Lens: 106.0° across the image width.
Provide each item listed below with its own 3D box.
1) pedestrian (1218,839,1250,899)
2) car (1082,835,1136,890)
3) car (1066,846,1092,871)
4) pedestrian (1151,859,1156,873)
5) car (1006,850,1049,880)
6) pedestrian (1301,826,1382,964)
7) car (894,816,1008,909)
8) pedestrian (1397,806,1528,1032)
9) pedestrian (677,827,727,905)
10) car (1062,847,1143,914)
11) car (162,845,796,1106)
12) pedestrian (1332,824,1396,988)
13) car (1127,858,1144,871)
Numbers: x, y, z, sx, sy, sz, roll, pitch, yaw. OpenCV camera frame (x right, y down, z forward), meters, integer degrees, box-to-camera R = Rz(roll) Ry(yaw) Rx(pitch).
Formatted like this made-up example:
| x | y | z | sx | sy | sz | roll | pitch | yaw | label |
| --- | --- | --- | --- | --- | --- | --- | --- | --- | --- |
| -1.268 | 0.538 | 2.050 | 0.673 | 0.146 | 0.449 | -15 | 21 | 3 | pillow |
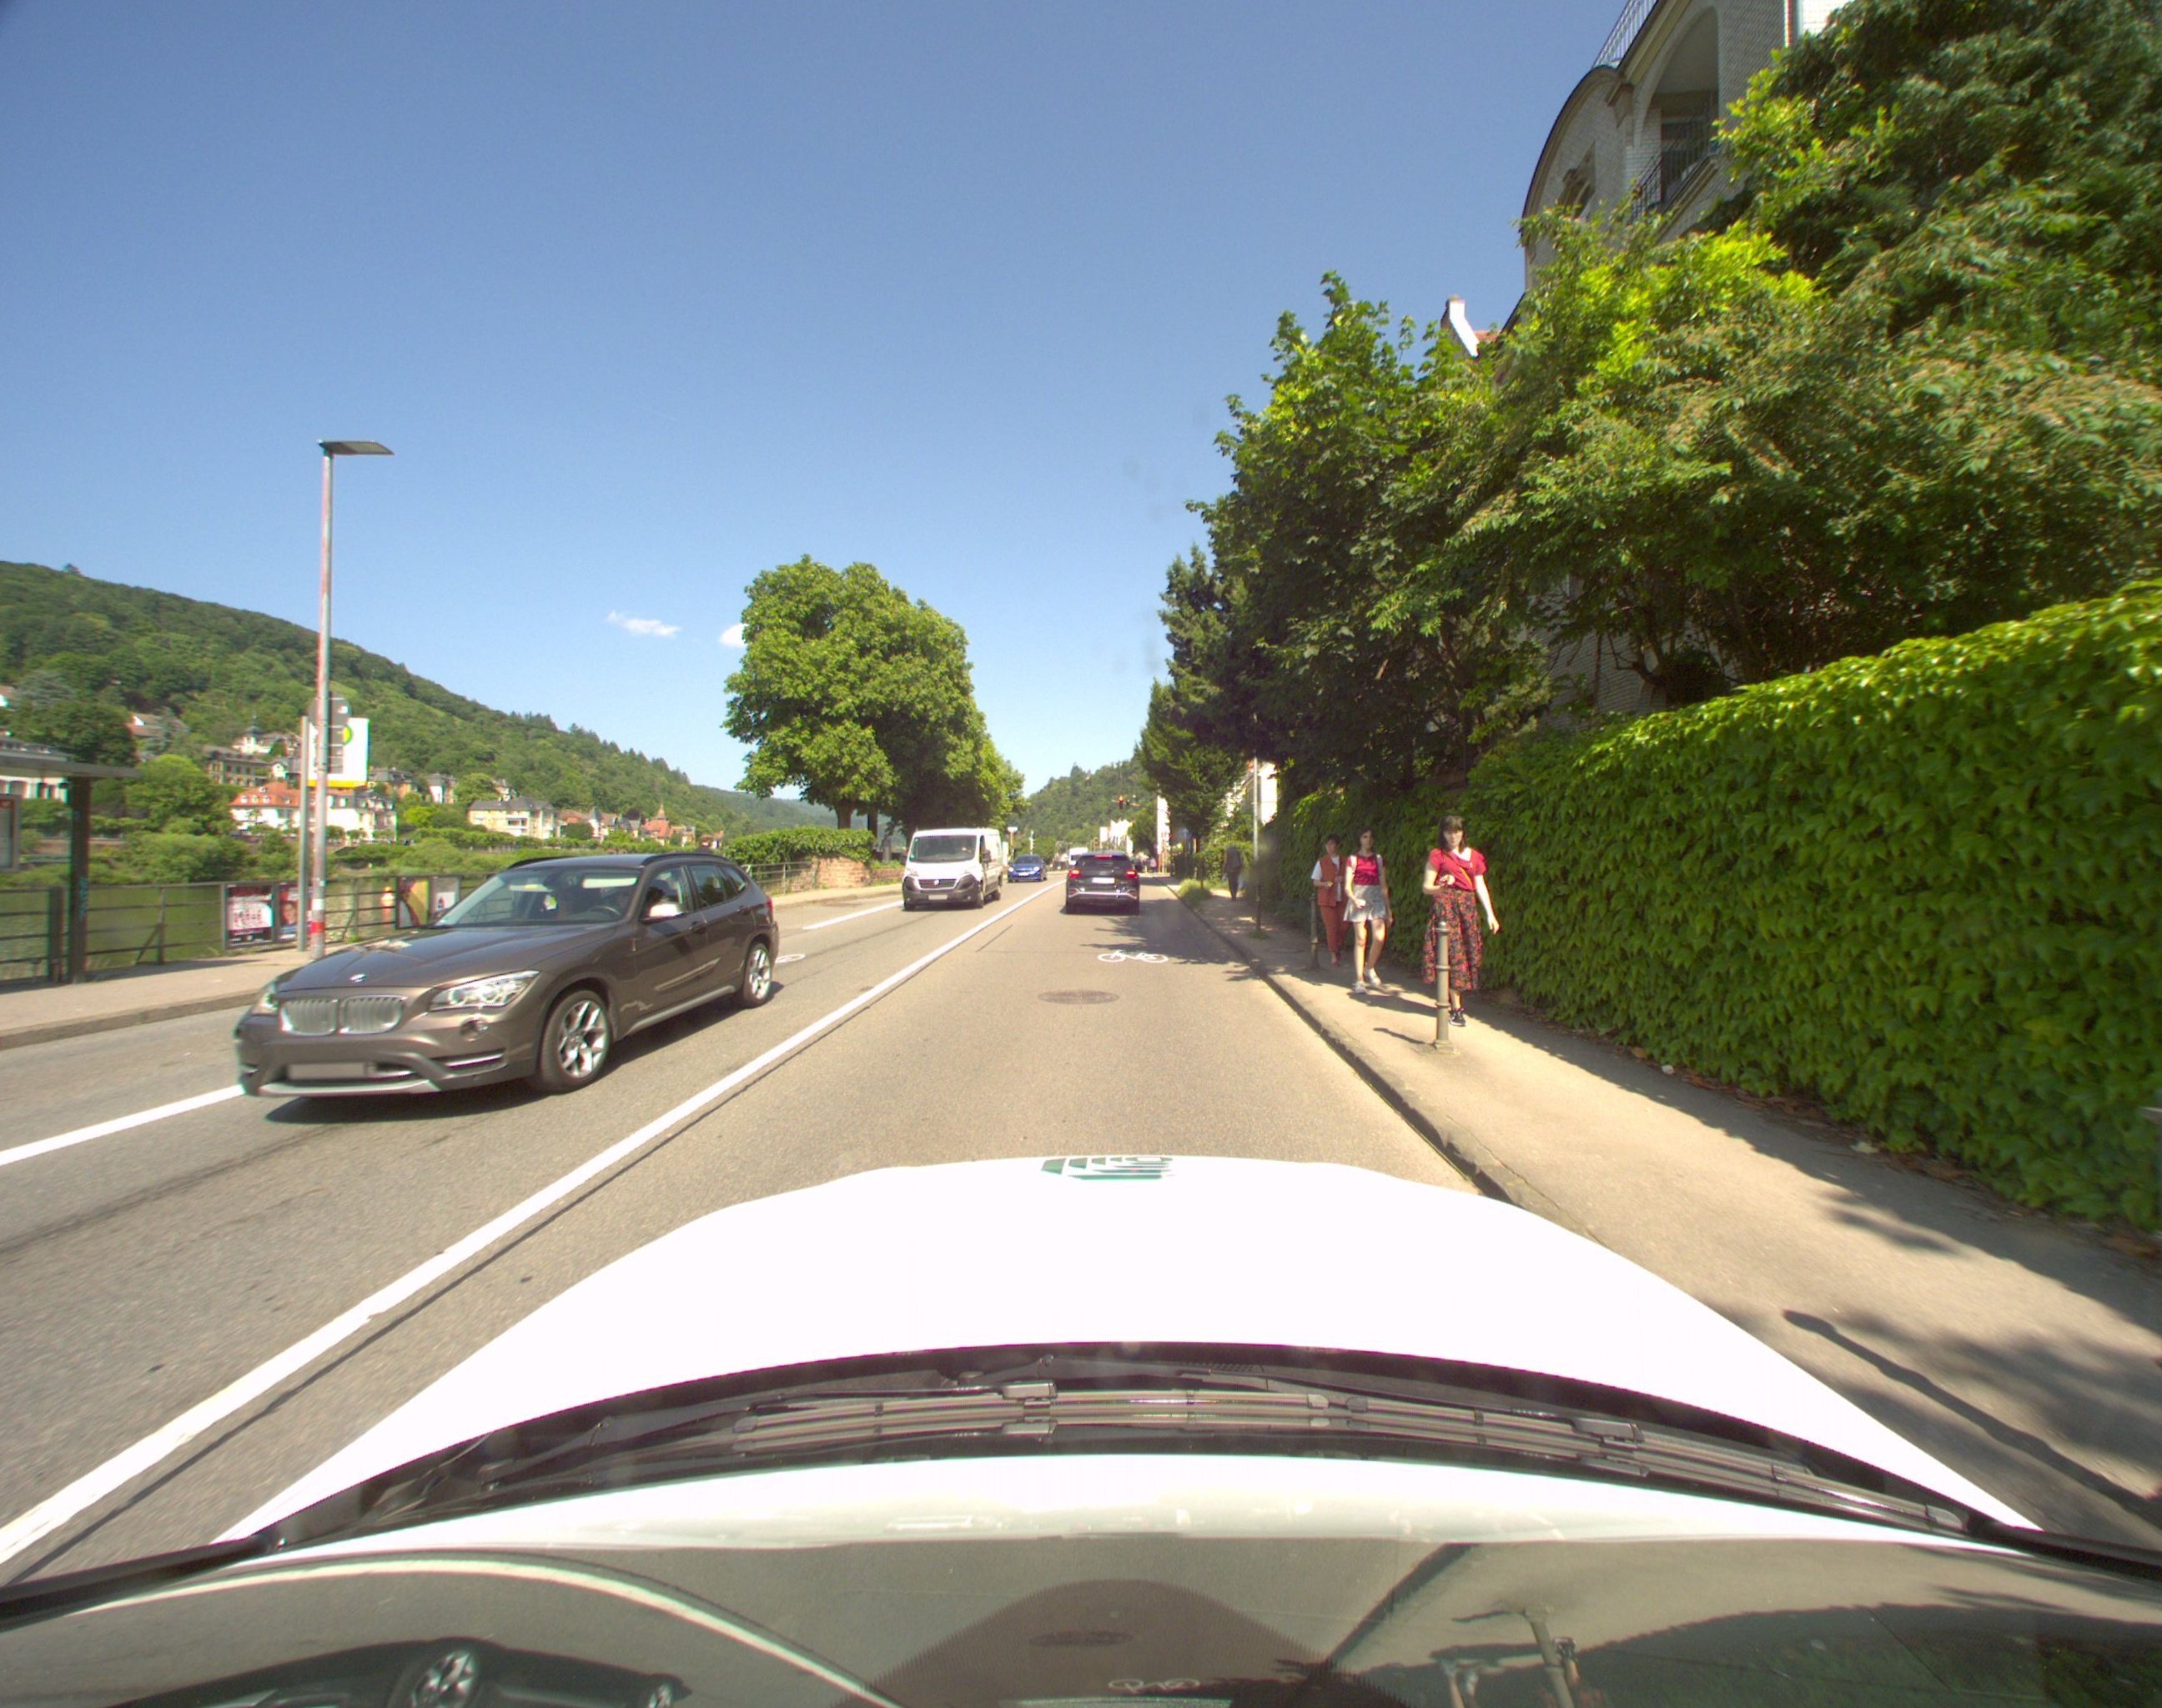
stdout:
| x | y | z | sx | sy | sz | roll | pitch | yaw | label |
| --- | --- | --- | --- | --- | --- | --- | --- | --- | --- |
| 4.428 | 0.429 | 23.571 | 0.725 | 1.650 | 0.882 | -3 | 0 | 2 | pedestrian |
| 1.133 | 0.343 | 32.214 | 1.985 | 2.014 | 4.002 | -1 | -1 | 2 | car |
| -0.167 | 0.478 | 85.564 | 2.484 | 2.466 | 5.623 | -1 | -2 | 2 | car |
| 7.699 | 1.289 | 86.600 | 0.487 | 1.559 | 0.462 | 0 | -2 | 2 | pedestrian |
| -2.784 | 0.600 | 43.271 | 1.891 | 1.489 | 3.797 | -1 | -1 | 2 | car |
| 3.220 | 0.484 | 10.147 | 0.732 | 1.634 | 0.921 | -1 | 0 | 2 | pedestrian |
| -3.495 | 0.174 | 23.204 | 2.088 | 2.302 | 5.871 | 0 | 1 | 2 | car |
| 3.123 | 0.498 | 6.752 | 0.678 | 1.742 | 0.913 | -1 | 0 | 2 | pedestrian |
| -9.560 | 0.314 | 20.570 | 0.750 | 1.918 | 1.010 | 0 | -2 | 2 | pedestrian |
| 0.603 | 0.594 | 20.816 | 1.849 | 1.523 | 4.003 | 1 | 1 | 3 | car |
| -4.065 | 0.644 | 6.641 | 1.808 | 1.398 | 4.348 | -1 | 1 | 2 | car |
| 2.864 | 0.508 | 8.268 | 0.454 | 1.606 | 0.580 | -1 | 0 | 2 | pedestrian |
| 6.615 | 1.273 | 99.166 | 1.985 | 1.453 | 4.011 | -1 | -2 | 2 | car |
